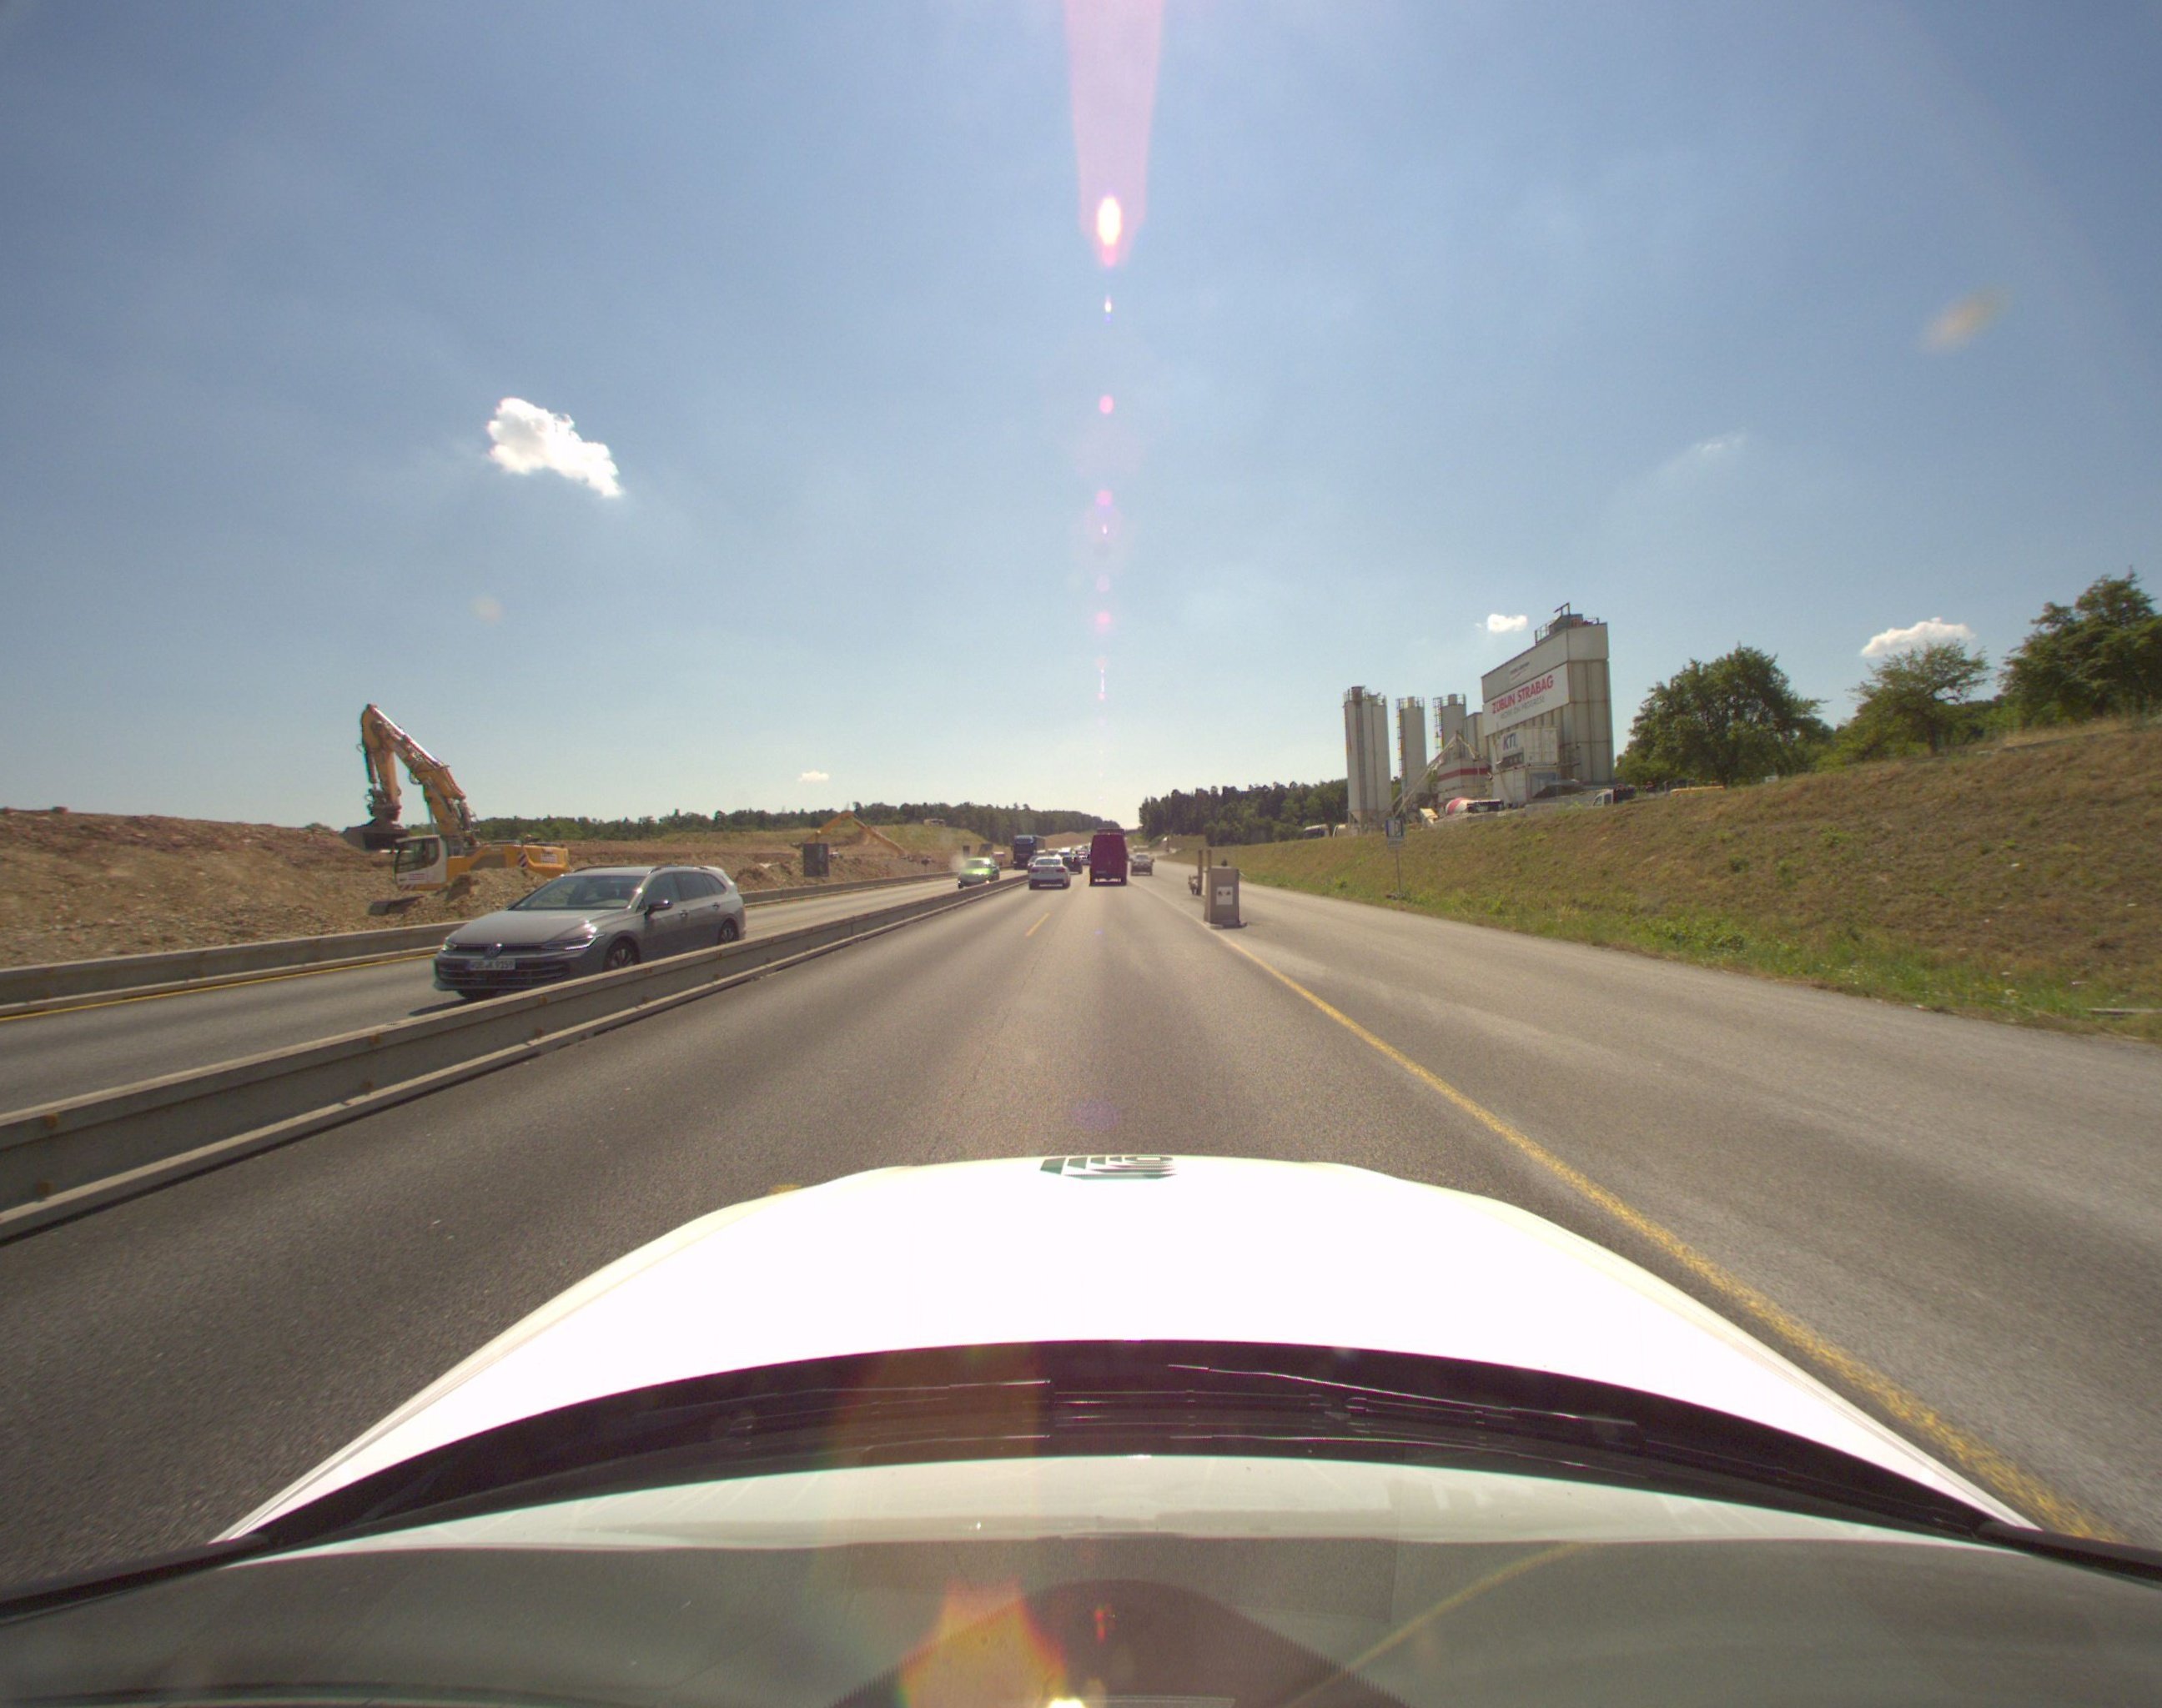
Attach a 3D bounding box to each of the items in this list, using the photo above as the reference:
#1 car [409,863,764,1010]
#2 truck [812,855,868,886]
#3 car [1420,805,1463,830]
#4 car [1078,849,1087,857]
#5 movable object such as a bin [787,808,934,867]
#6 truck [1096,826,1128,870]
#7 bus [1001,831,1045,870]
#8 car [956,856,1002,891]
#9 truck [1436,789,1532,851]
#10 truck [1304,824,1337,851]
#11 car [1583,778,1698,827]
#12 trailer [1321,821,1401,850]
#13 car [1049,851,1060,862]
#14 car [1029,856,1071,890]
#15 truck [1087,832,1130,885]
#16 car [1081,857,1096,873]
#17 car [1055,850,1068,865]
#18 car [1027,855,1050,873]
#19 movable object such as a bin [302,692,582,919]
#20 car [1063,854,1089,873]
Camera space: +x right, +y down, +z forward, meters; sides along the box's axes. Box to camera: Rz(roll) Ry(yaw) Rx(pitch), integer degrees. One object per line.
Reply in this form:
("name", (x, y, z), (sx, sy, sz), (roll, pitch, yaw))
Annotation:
("car", (-6.013, 0.880, 10.707), (1.780, 1.476, 4.526), (-1, 0, 2))
("truck", (-21.985, 1.456, 74.764), (2.307, 2.617, 8.414), (-2, 0, 2))
("car", (32.013, -3.221, 72.417), (1.986, 2.013, 4.429), (-2, 0, 2))
("car", (0.465, -0.269, 202.817), (1.986, 1.904, 4.002), (-2, 0, 2))
("movable object such as a bin", (-29.504, -2.232, 109.620), (18.653, 7.231, 3.615), (-2, 0, -1))
("truck", (3.166, -0.568, 82.487), (3.003, 4.153, 8.277), (-2, 0, 3))
("bus", (-7.081, -0.389, 102.729), (3.929, 4.415, 17.203), (-2, 0, 1))
("car", (-4.953, 0.915, 40.004), (1.596, 1.580, 4.169), (-2, 0, 2))
("truck", (31.134, -2.448, 63.518), (3.418, 4.296, 9.944), (-2, 0, 6))
("truck", (29.228, -2.033, 99.175), (2.869, 3.113, 6.047), (-2, 0, 26))
("car", (27.059, -2.435, 39.630), (2.215, 2.013, 4.995), (-2, 0, 2))
("trailer", (34.648, -2.301, 100.831), (9.006, 3.229, 3.316), (-2, 0, -13))
("car", (-5.001, 0.440, 152.493), (1.757, 2.013, 3.828), (-2, 0, 2))
("car", (-1.446, 0.853, 39.679), (1.789, 1.534, 5.073), (-1, 0, 0))
("truck", (1.586, 0.229, 44.392), (2.103, 2.633, 6.489), (-2, 0, 3))
("car", (1.030, 1.493, 109.290), (1.757, 2.013, 3.828), (-2, 0, 2))
("car", (-2.942, 0.524, 123.162), (1.852, 2.154, 3.624), (-2, 0, -1))
("car", (-3.856, 0.918, 74.540), (1.646, 1.558, 4.097), (-2, 0, 2))
("movable object such as a bin", (-23.530, -1.684, 30.333), (7.605, 7.713, 3.448), (-2, 0, 3))
("car", (-0.371, 0.791, 68.938), (1.786, 1.534, 3.937), (-2, 0, 5))
